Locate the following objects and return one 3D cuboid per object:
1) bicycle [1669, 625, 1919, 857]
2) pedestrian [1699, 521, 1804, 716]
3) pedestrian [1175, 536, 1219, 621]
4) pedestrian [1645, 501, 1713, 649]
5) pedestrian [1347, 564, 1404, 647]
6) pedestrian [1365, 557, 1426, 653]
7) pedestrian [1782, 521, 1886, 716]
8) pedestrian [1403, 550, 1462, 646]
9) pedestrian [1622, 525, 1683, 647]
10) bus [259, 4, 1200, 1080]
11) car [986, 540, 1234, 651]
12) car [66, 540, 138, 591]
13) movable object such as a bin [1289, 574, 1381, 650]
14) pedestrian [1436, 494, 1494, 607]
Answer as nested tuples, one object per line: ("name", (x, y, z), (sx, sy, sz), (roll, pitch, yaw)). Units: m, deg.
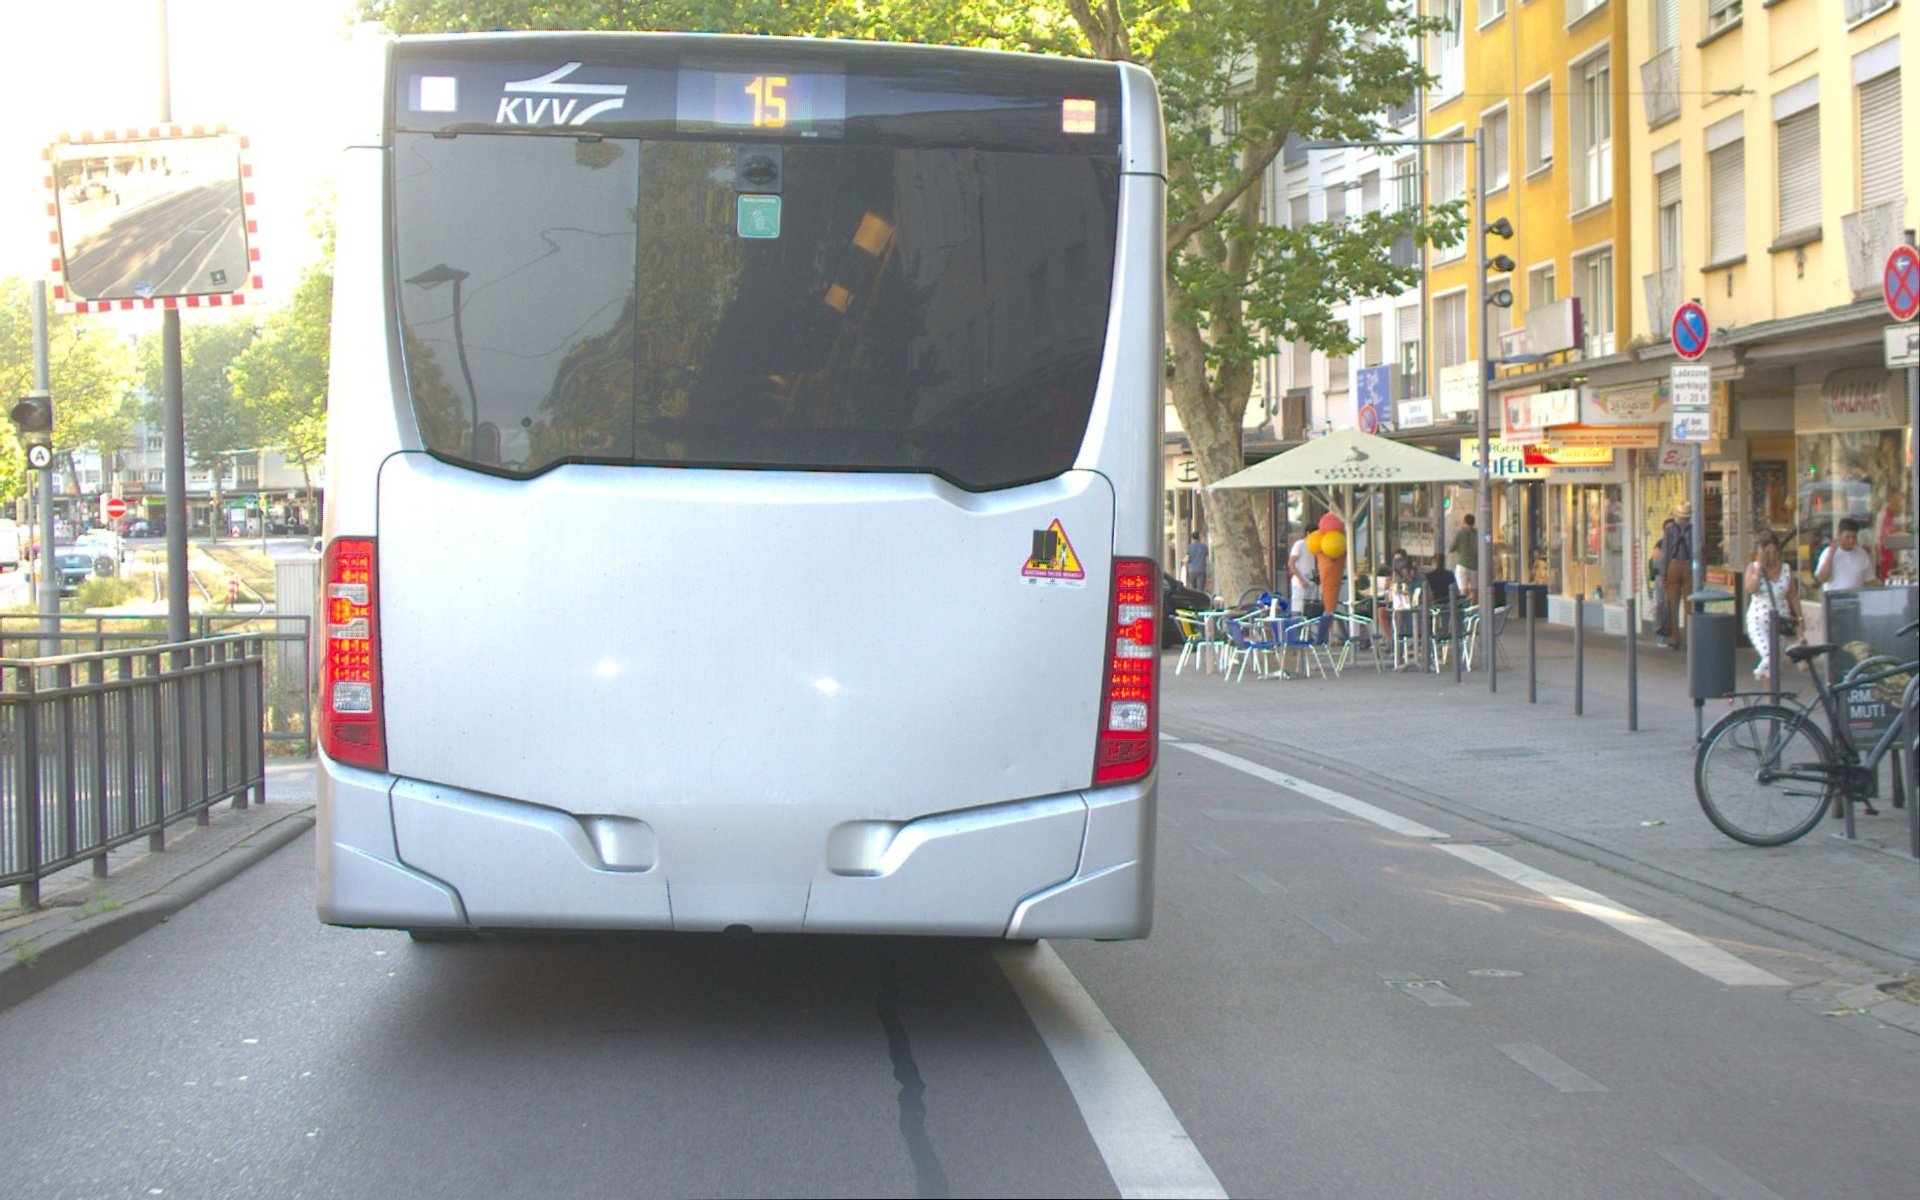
("bicycle", (4.659, 0.702, 17.625), (1.907, 1.101, 0.518), (-3, 1, 6))
("pedestrian", (6.611, 0.146, 28.732), (0.635, 1.581, 0.627), (-3, 1, -2))
("pedestrian", (5.040, -0.454, 73.153), (0.780, 1.787, 0.764), (-1, 1, -8))
("pedestrian", (8.835, -0.308, 42.238), (0.636, 1.797, 0.626), (0, 1, 28))
("pedestrian", (5.650, 0.073, 46.759), (0.583, 1.111, 0.751), (1, 1, -7))
("pedestrian", (5.618, 0.062, 44.407), (0.605, 1.221, 0.745), (-1, 1, -7))
("pedestrian", (7.331, 0.148, 28.856), (0.622, 1.581, 0.627), (-3, 1, -2))
("pedestrian", (6.336, -0.029, 46.122), (0.583, 1.270, 0.759), (1, 1, -7))
("pedestrian", (8.839, -0.183, 43.880), (0.625, 1.541, 0.636), (-1, 1, 23))
("bus", (-0.822, -0.232, 13.434), (2.677, 3.073, 7.115), (0, 1, -3))
("car", (2.231, -0.091, 50.507), (1.740, 1.535, 3.600), (0, 1, 42))
("car", (-27.241, -1.098, 109.245), (1.722, 1.504, 3.477), (-3, 1, -7))
("movable object such as a bin", (5.191, 0.164, 47.639), (0.926, 1.020, 0.840), (1, 1, -30))
("pedestrian", (8.258, -0.807, 56.232), (0.706, 1.785, 0.788), (-4, 1, -2))
